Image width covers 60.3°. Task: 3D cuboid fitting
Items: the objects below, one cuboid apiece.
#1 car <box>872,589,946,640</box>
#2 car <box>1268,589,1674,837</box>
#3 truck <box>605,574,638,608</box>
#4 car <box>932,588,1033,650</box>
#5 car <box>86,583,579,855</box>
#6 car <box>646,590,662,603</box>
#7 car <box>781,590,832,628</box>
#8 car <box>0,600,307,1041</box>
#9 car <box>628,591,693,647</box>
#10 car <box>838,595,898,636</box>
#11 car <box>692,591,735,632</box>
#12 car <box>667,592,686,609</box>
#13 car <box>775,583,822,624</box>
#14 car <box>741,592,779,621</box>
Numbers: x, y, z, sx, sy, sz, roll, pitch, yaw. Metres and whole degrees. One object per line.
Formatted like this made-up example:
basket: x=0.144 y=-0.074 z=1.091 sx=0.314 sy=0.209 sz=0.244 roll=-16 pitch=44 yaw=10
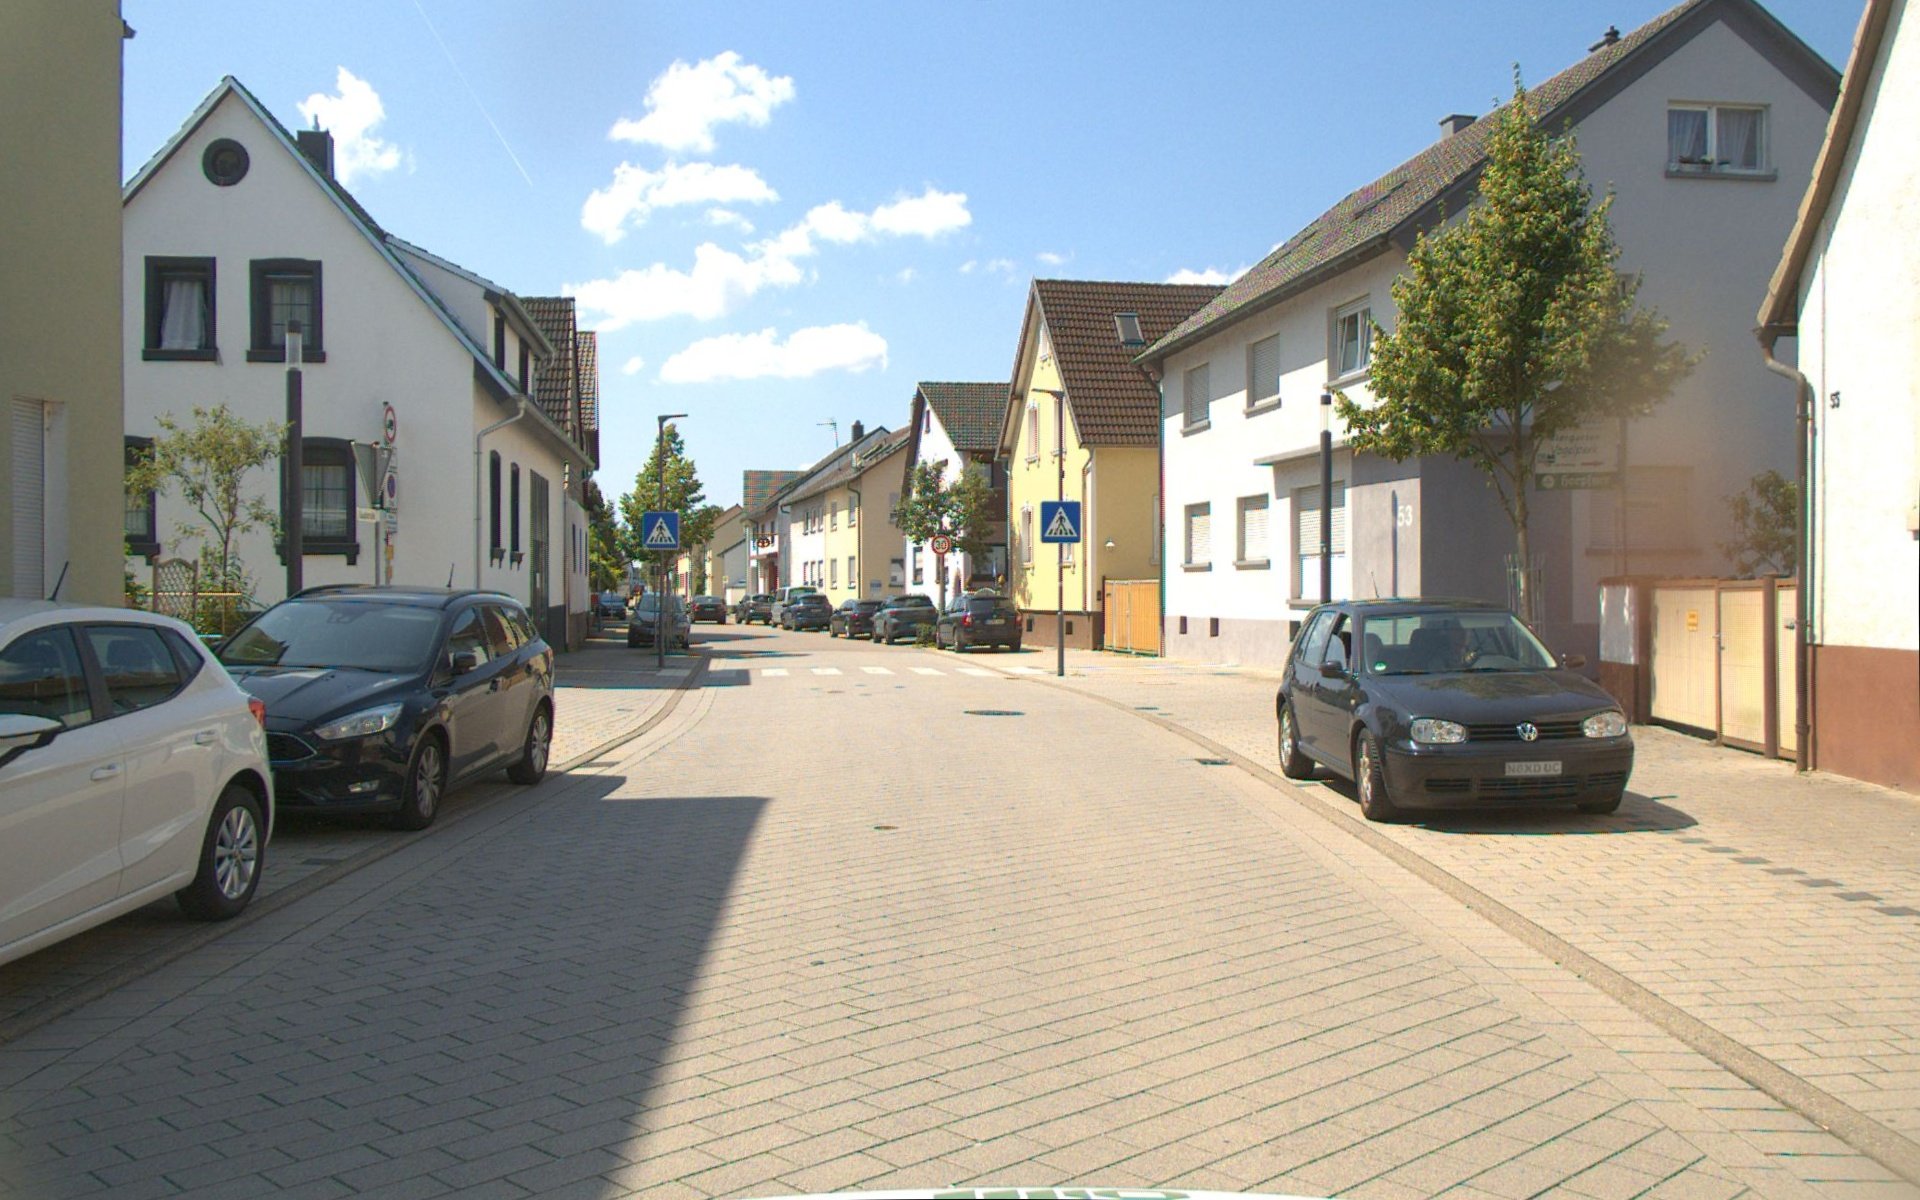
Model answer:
car: x=-1.683 y=0.442 z=53.659 sx=1.814 sy=1.590 sz=3.683 roll=-1 pitch=0 yaw=-12
car: x=3.505 y=0.676 z=12.168 sx=1.723 sy=1.463 sz=4.120 roll=-2 pitch=0 yaw=1
truck: x=-41.411 y=-1.091 z=202.162 sx=3.505 sy=4.023 sz=8.549 roll=-1 pitch=0 yaw=-14
car: x=0.539 y=0.494 z=44.286 sx=1.797 sy=1.497 sz=4.264 roll=-3 pitch=0 yaw=-11
car: x=-4.082 y=0.659 z=11.601 sx=1.776 sy=1.516 sz=4.277 roll=1 pitch=1 yaw=0
car: x=-36.813 y=-0.441 z=198.958 sx=1.659 sy=1.478 sz=3.779 roll=-1 pitch=0 yaw=-14
car: x=-6.917 y=0.371 z=74.389 sx=1.844 sy=1.619 sz=3.989 roll=-1 pitch=0 yaw=-12
car: x=-4.099 y=0.753 z=6.177 sx=1.722 sy=1.435 sz=3.878 roll=2 pitch=1 yaw=0
car: x=-8.731 y=0.515 z=48.425 sx=1.715 sy=1.557 sz=3.992 roll=1 pitch=0 yaw=-9
car: x=-3.414 y=0.544 z=60.974 sx=1.680 sy=1.411 sz=3.695 roll=-1 pitch=0 yaw=-12
car: x=-13.055 y=0.573 z=87.369 sx=1.959 sy=2.094 sz=4.361 roll=-1 pitch=0 yaw=-12
car: x=-26.240 y=0.052 z=153.124 sx=1.658 sy=1.478 sz=3.782 roll=-1 pitch=0 yaw=-12
car: x=-7.838 y=0.170 z=79.954 sx=1.873 sy=1.904 sz=3.989 roll=-1 pitch=0 yaw=-12
car: x=-10.753 y=0.321 z=88.620 sx=1.723 sy=1.519 sz=3.989 roll=-1 pitch=0 yaw=-12
